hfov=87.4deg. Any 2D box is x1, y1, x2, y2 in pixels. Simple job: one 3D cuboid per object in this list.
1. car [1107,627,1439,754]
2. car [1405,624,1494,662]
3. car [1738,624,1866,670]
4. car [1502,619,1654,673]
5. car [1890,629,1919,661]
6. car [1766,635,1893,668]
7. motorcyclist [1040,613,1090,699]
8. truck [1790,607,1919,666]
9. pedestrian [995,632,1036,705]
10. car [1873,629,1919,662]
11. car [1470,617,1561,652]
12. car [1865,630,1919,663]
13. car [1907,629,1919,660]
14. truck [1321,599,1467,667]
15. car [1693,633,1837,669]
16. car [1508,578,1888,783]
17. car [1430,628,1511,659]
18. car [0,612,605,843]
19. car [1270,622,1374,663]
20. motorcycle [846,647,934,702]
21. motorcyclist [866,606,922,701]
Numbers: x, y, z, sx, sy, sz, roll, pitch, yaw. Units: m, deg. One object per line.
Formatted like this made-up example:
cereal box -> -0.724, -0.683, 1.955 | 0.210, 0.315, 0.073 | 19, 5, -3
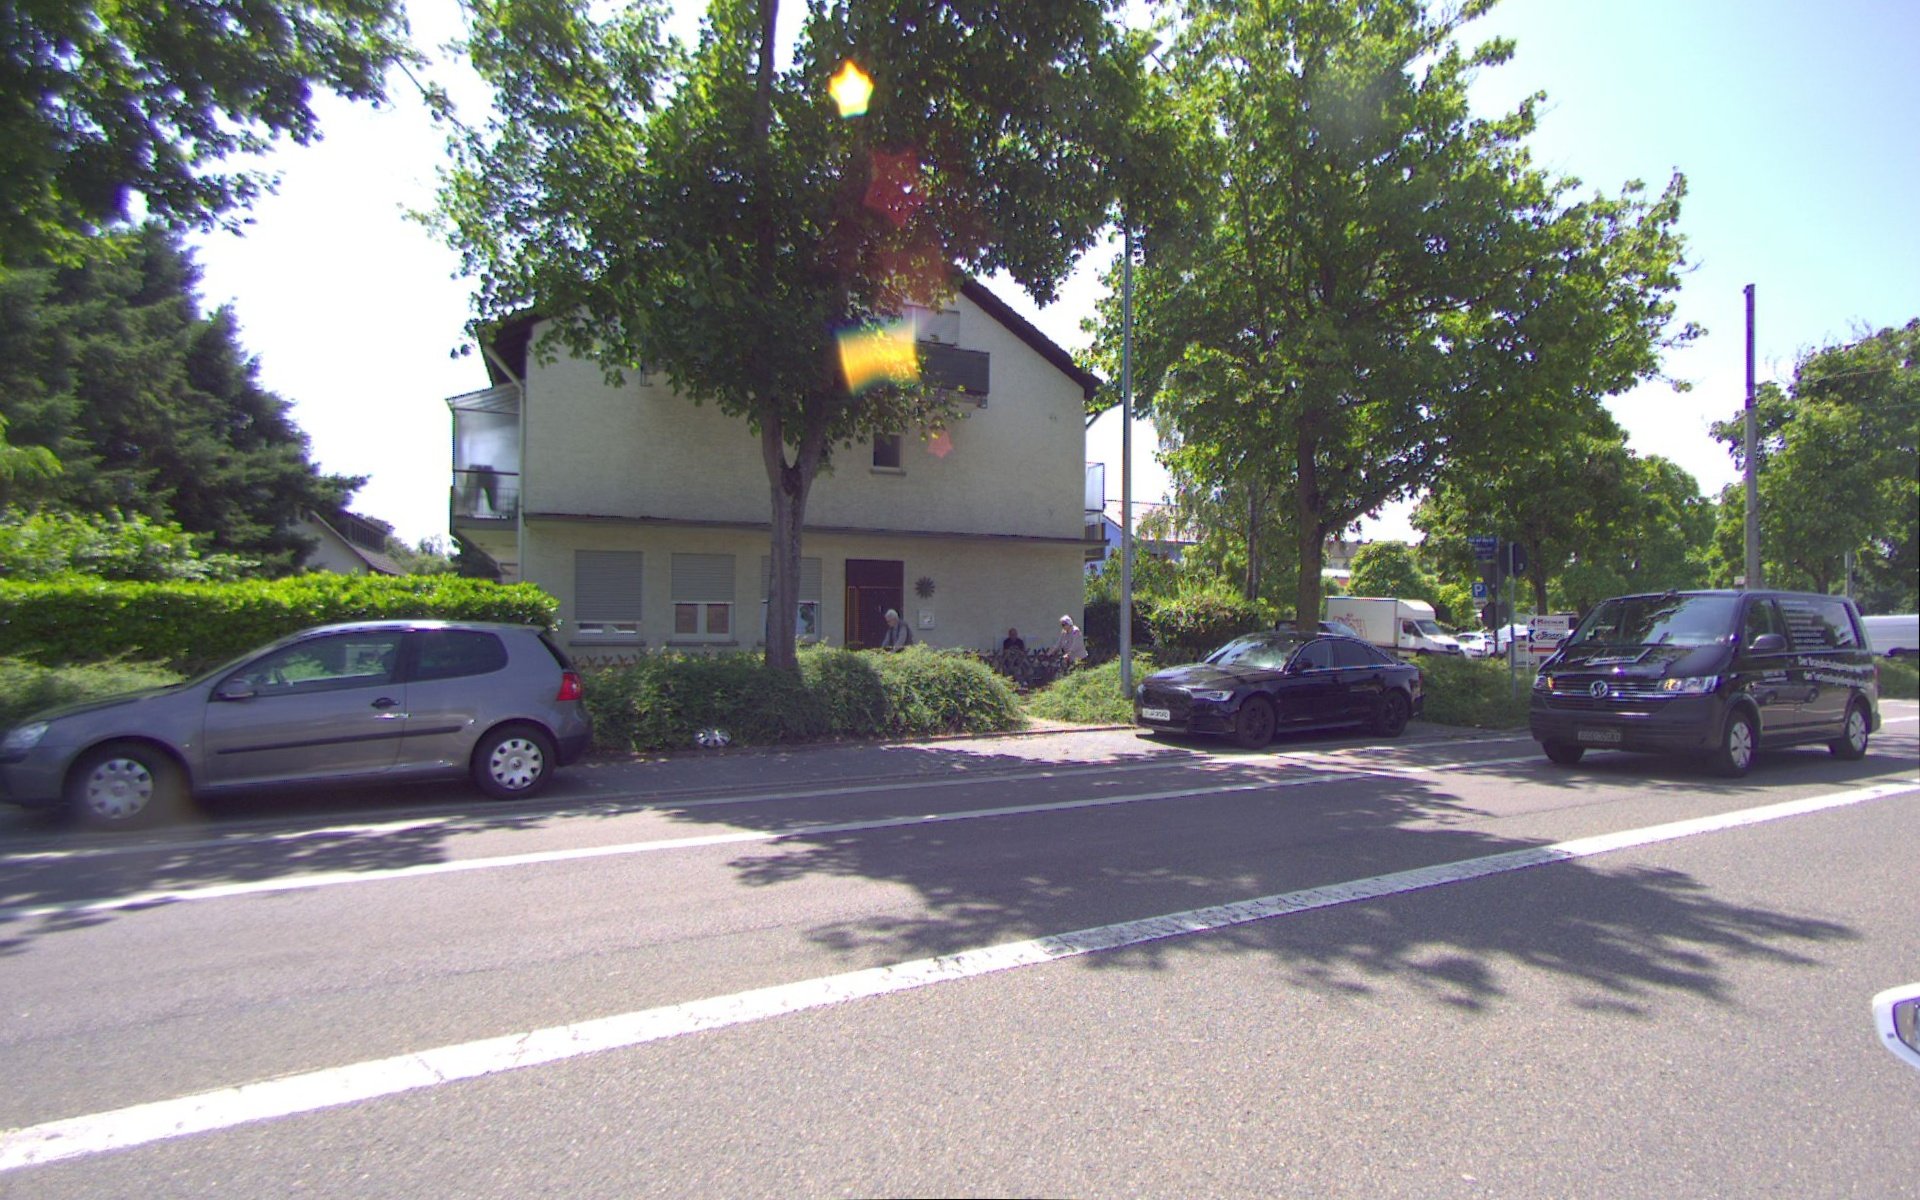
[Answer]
car -> 4.498, 1.154, 14.163 | 4.758, 1.476, 1.883 | 1, 0, -33
car -> 26.164, 2.272, 53.805 | 1.628, 1.845, 4.107 | 1, -1, -30
car -> 38.961, 2.154, 46.569 | 1.836, 2.021, 4.188 | 1, -2, -31
car -> 23.070, 1.668, 37.645 | 2.040, 1.881, 4.421 | 1, -2, -34
car -> 56.779, 2.616, 57.651 | 1.776, 1.837, 4.694 | 1, -2, -31
car -> 41.150, 2.395, 47.638 | 1.836, 1.430, 4.188 | 1, -2, -31
motorcyclist -> 1.908, 1.014, 18.354 | 0.654, 1.523, 0.583 | 1, 2, -29
truck -> 45.685, 1.823, 50.579 | 2.402, 2.796, 5.555 | 1, -2, -29
pedestrian -> 1.191, 1.468, 21.698 | 0.599, 1.530, 0.792 | 1, -1, -23
car -> 54.607, 2.580, 56.343 | 1.776, 1.837, 4.694 | 1, -2, -31
car -> 31.085, 1.892, 56.315 | 1.948, 1.844, 4.107 | 2, -1, -30
car -> 52.405, 2.539, 54.777 | 1.836, 1.789, 4.188 | 1, -2, -31
car -> 59.185, 2.660, 59.152 | 1.776, 1.837, 4.694 | 1, -2, -31
truck -> 22.116, 1.603, 51.567 | 2.126, 3.270, 6.940 | 1, -1, -31
car -> 36.523, 2.272, 45.701 | 2.035, 1.508, 4.737 | 1, -2, -31
car -> 8.508, 0.839, 11.498 | 4.518, 1.936, 1.909 | 1, -2, -31
car -> 28.332, 2.384, 55.825 | 1.713, 1.597, 3.728 | 1, -1, -30
car -> -5.247, 0.896, 8.362 | 4.081, 1.506, 1.667 | 1, 0, -31
car -> 17.356, 2.006, 48.373 | 1.915, 1.845, 4.689 | 1, -1, -27
motorcycle -> -1.162, 1.222, 16.730 | 1.354, 0.837, 0.523 | 1, 2, -30
motorcyclist -> -1.103, 0.874, 16.761 | 0.716, 1.523, 0.583 | 1, 2, -29
